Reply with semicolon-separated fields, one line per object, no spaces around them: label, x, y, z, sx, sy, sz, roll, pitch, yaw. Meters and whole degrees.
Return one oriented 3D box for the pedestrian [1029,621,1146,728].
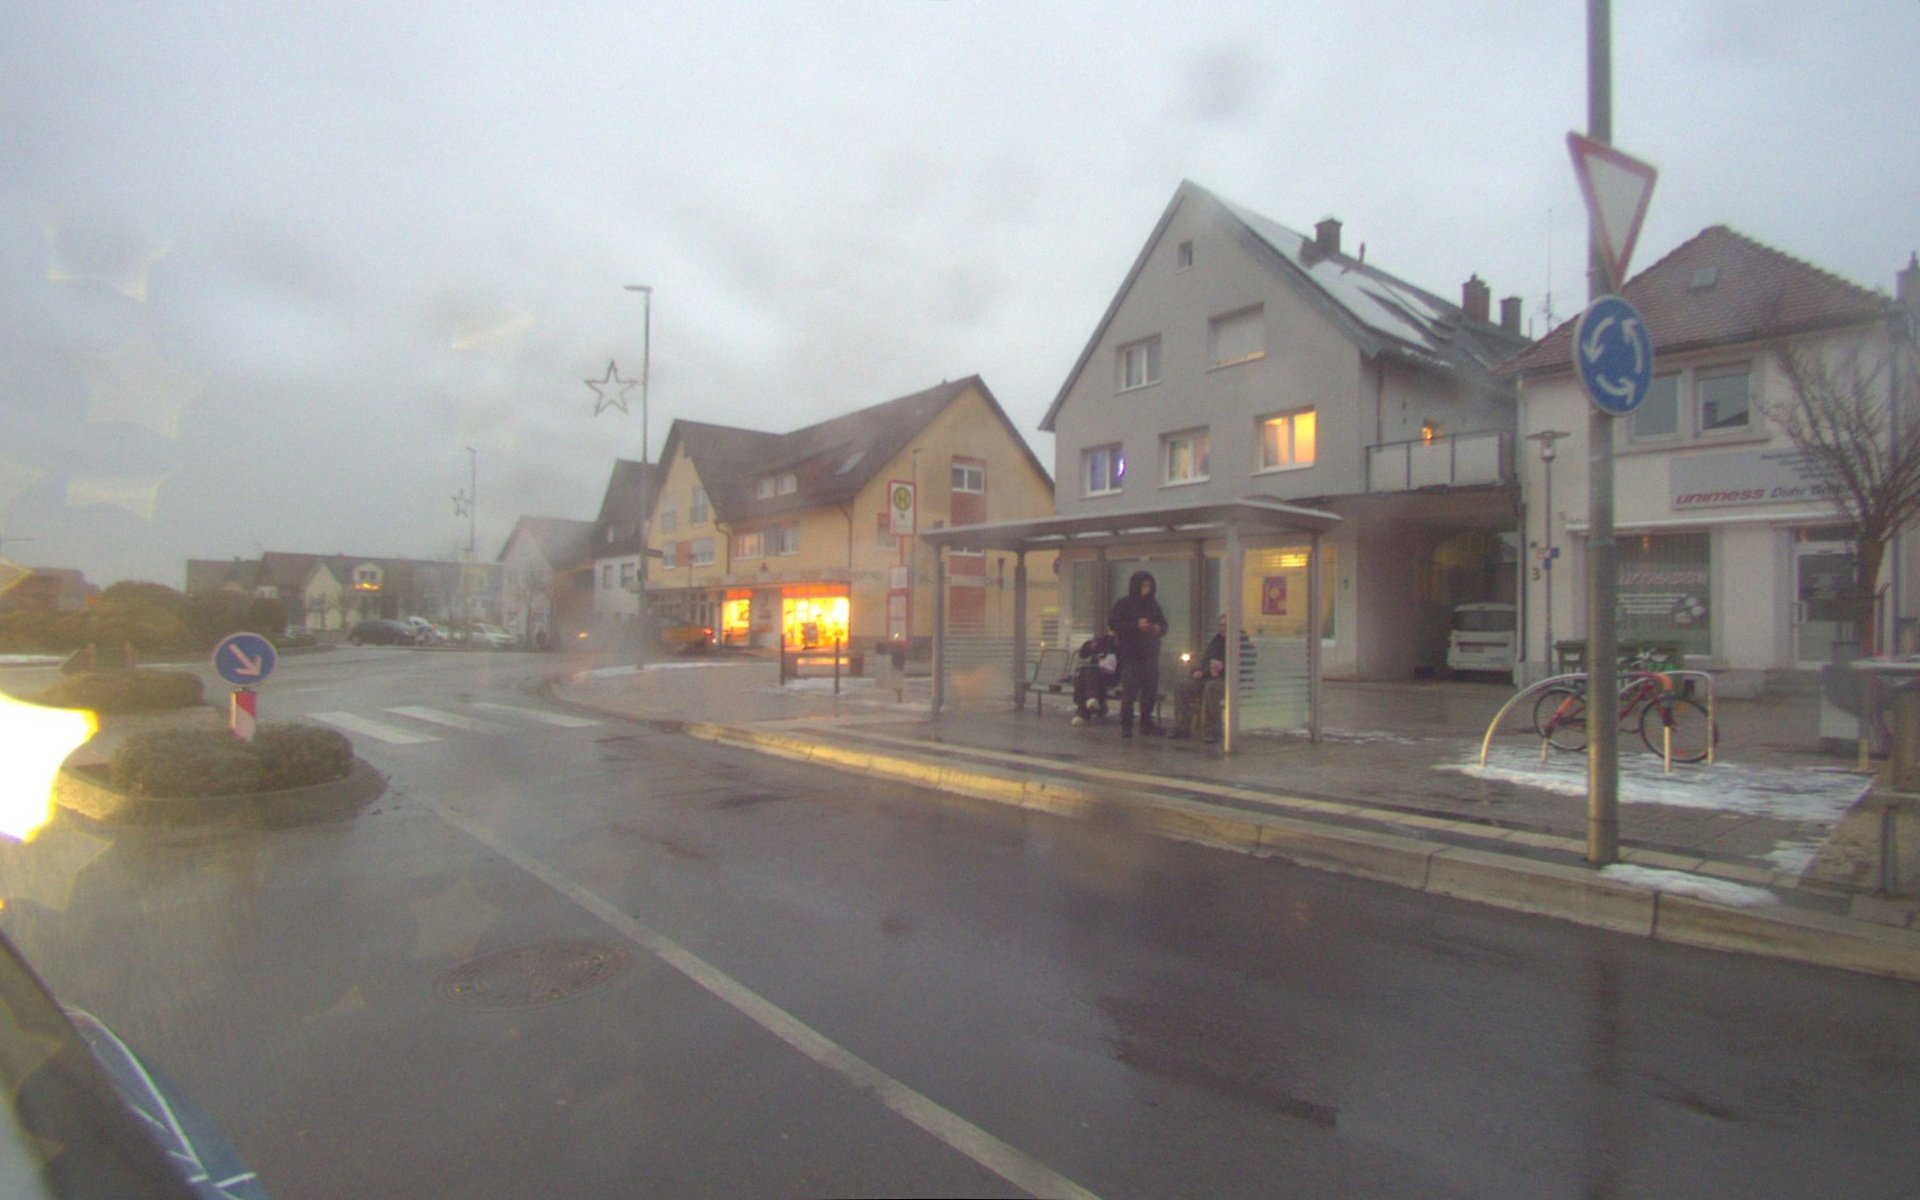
pedestrian;1.498;0.854;11.878;0.976;1.167;0.903;0;-3;-39

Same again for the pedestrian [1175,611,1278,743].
pedestrian;2.743;0.771;10.425;0.677;1.281;0.751;-1;-1;-44

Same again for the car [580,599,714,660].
car;-10.972;1.020;35.725;4.389;2.029;2.006;0;1;-16

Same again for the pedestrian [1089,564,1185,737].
pedestrian;1.889;0.521;10.779;0.687;1.755;0.740;-2;-1;41

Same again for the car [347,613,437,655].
car;-30.157;1.767;53.763;3.963;2.010;1.962;1;1;15

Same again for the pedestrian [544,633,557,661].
pedestrian;-24.305;2.792;60.057;0.574;1.623;0.500;0;1;-44

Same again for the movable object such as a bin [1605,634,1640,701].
movable object such as a bin;11.644;1.181;17.788;0.284;1.129;0.454;0;1;-44

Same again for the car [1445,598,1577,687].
car;12.518;0.918;22.929;3.373;1.867;1.516;1;-1;-40

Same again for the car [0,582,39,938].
car;-6.416;0.728;5.192;4.106;1.597;1.933;-1;-1;39

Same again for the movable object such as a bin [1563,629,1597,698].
movable object such as a bin;11.187;1.137;18.272;0.284;1.219;0.454;0;1;-44

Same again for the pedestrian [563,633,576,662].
pedestrian;-23.018;2.796;59.685;0.574;1.623;0.500;0;1;-44

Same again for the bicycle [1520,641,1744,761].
bicycle;6.396;0.919;9.732;0.463;1.018;1.744;1;-2;-32

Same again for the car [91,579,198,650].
car;-25.216;0.381;31.451;2.024;2.002;4.551;0;1;-32

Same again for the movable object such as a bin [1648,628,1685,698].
movable object such as a bin;12.075;1.070;17.294;0.284;1.151;0.454;0;1;-44

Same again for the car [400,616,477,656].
car;-28.920;1.961;56.109;3.953;2.029;1.908;1;1;28

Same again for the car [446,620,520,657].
car;-27.493;2.211;58.339;3.854;1.895;1.917;1;1;28

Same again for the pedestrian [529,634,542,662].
pedestrian;-24.847;2.805;59.276;0.574;1.623;0.500;0;1;-44
